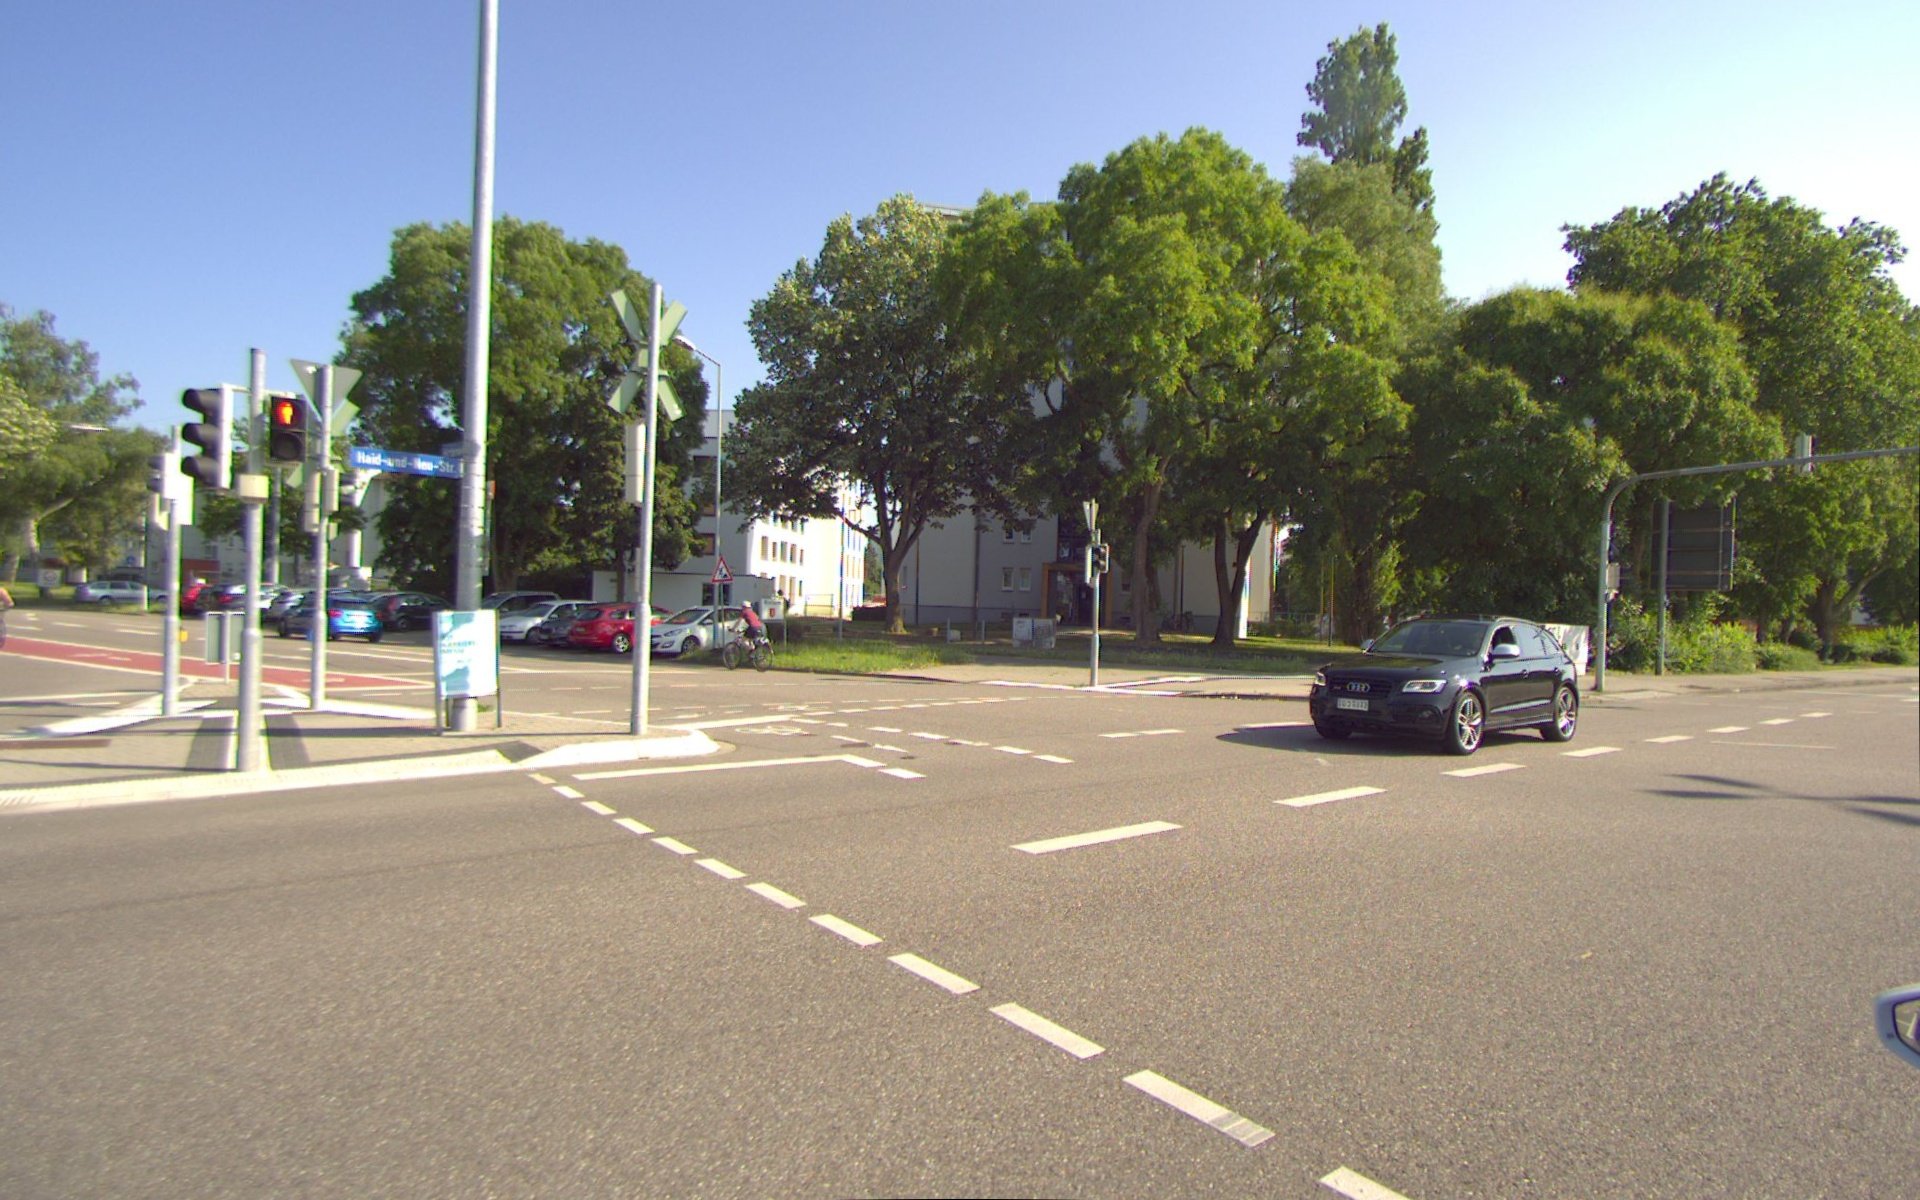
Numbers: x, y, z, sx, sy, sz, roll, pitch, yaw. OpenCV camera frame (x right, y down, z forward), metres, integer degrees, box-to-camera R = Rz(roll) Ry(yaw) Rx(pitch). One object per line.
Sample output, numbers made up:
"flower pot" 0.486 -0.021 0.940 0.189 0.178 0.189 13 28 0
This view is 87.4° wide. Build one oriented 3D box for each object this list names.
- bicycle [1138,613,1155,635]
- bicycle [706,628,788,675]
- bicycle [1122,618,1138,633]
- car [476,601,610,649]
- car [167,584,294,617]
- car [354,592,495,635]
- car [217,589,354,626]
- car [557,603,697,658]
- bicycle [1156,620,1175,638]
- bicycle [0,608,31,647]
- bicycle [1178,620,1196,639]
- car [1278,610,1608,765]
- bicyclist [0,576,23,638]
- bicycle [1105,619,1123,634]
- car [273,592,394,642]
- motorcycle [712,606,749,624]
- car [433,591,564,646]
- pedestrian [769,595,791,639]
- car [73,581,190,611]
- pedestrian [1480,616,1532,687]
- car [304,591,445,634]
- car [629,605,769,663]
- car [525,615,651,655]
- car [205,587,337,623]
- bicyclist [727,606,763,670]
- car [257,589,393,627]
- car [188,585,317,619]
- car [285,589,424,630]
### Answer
"bicycle" 9.618 1.235 51.798 0.600 1.080 1.918 3 -1 16
"bicycle" -5.388 1.291 25.389 2.032 1.054 0.621 2 0 24
"bicycle" 8.836 1.331 52.281 0.497 0.718 2.116 2 0 18
"car" -14.459 0.867 34.996 1.755 1.541 3.989 2 0 34
"car" -36.150 -0.006 49.899 1.754 1.497 4.802 2 2 31
"car" -21.553 0.498 40.648 1.754 1.497 4.802 2 2 31
"car" -30.135 0.293 45.048 1.754 1.497 4.802 2 2 31
"car" -10.606 0.925 32.243 1.756 1.435 3.984 2 3 36
"bicycle" 10.603 1.467 51.671 0.662 0.887 2.486 2 0 18
"bicycle" -23.970 0.675 25.129 1.778 0.915 0.652 2 0 33
"bicycle" 11.607 1.502 51.333 0.657 0.932 2.407 2 0 18
"car" 6.372 1.042 13.112 4.340 1.681 1.977 2 -1 -34
"bicyclist" -24.127 0.163 25.267 0.615 1.544 0.618 2 1 25
"bicycle" 8.089 1.377 52.630 0.573 0.718 2.239 2 0 18
"car" -20.312 0.543 32.527 4.173 1.433 1.780 2 0 34
"motorcycle" -13.257 0.870 57.977 2.005 0.977 0.526 2 0 -4
"car" -16.705 0.670 36.534 1.755 1.835 3.989 2 0 34
"pedestrian" -7.233 0.694 40.282 0.695 1.736 0.622 2 0 -25
"car" -46.520 -0.198 56.493 1.756 1.497 4.798 2 0 36
"pedestrian" 14.263 1.336 26.236 0.921 1.775 0.811 2 0 -32
"car" -23.777 0.453 40.999 1.754 1.497 4.703 2 3 31
"car" -7.886 0.980 30.682 1.756 1.459 3.986 2 3 35
"car" -12.295 1.159 33.397 1.441 1.209 3.775 2 0 35
"car" -31.947 0.186 46.735 1.754 1.497 4.802 2 2 31
"bicyclist" -5.443 0.957 25.419 0.591 1.581 0.609 2 0 23
"car" -27.790 0.312 44.122 1.754 1.497 4.765 2 2 31
"car" -34.208 0.057 48.690 1.754 1.497 4.802 2 2 31
"car" -25.696 0.351 42.824 1.754 1.497 4.802 2 3 31
